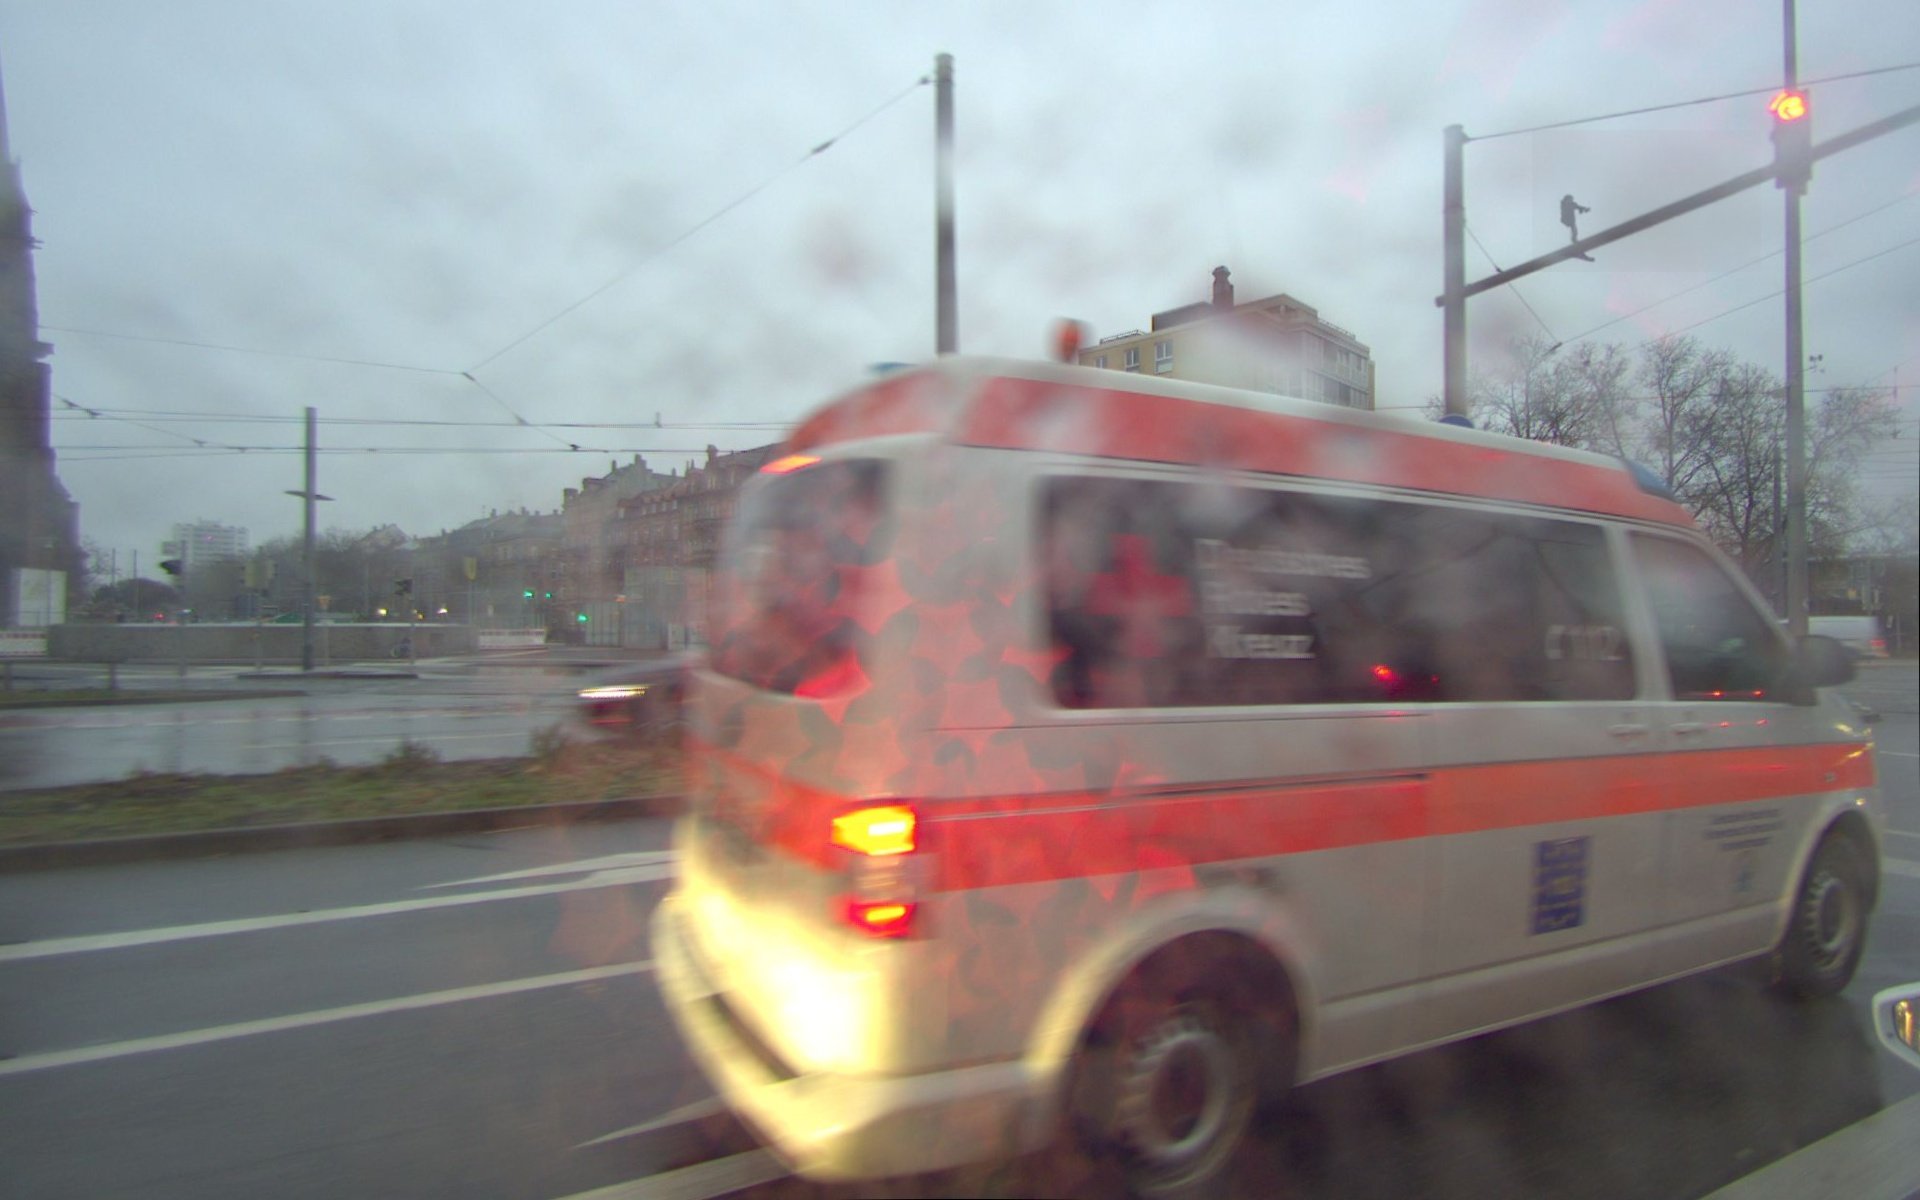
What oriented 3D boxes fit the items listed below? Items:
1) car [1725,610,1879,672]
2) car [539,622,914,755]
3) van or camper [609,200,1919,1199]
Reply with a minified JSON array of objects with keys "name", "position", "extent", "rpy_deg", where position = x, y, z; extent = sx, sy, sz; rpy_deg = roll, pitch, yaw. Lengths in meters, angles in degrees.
[{"name":"car","position":[31.878,1.543,38.112],"extent":[4.354,2.040,1.901],"rpy_deg":[2,-3,43]},{"name":"car","position":[-2.916,1.029,12.887],"extent":[4.399,1.391,1.663],"rpy_deg":[1,0,-32]},{"name":"van or camper","position":[1.391,0.416,3.919],"extent":[4.926,2.137,2.192],"rpy_deg":[1,0,-29]}]
